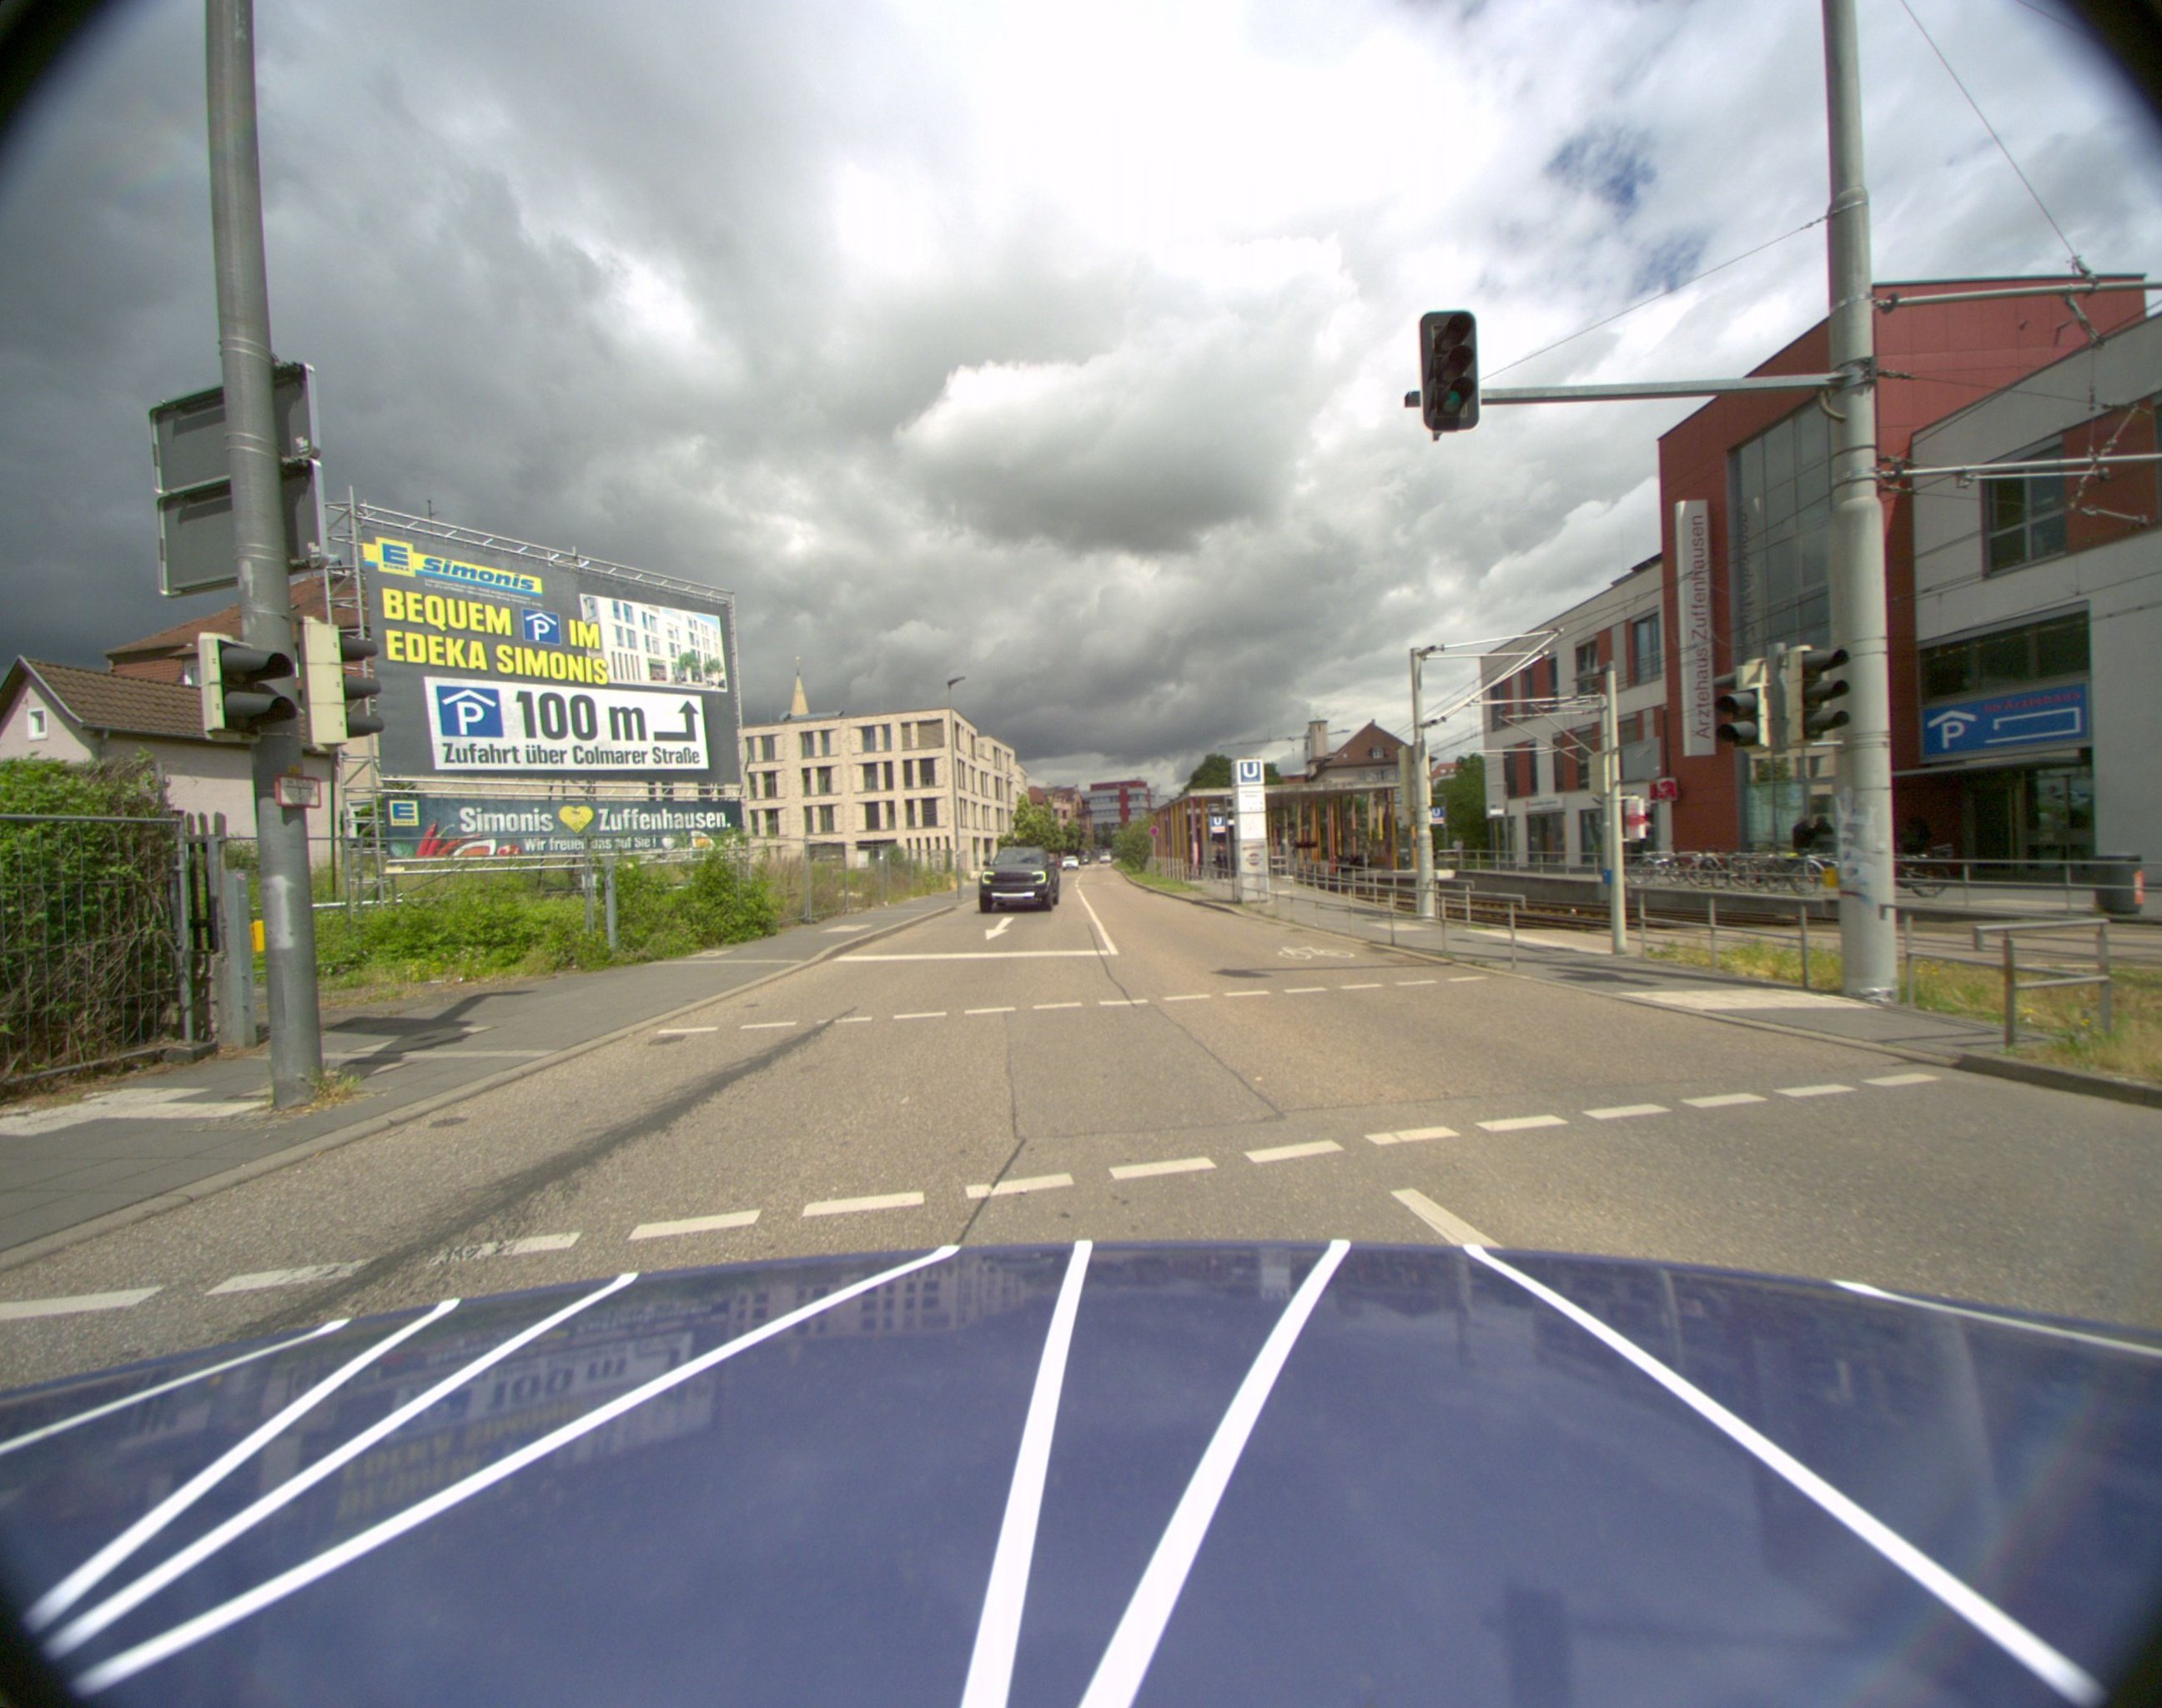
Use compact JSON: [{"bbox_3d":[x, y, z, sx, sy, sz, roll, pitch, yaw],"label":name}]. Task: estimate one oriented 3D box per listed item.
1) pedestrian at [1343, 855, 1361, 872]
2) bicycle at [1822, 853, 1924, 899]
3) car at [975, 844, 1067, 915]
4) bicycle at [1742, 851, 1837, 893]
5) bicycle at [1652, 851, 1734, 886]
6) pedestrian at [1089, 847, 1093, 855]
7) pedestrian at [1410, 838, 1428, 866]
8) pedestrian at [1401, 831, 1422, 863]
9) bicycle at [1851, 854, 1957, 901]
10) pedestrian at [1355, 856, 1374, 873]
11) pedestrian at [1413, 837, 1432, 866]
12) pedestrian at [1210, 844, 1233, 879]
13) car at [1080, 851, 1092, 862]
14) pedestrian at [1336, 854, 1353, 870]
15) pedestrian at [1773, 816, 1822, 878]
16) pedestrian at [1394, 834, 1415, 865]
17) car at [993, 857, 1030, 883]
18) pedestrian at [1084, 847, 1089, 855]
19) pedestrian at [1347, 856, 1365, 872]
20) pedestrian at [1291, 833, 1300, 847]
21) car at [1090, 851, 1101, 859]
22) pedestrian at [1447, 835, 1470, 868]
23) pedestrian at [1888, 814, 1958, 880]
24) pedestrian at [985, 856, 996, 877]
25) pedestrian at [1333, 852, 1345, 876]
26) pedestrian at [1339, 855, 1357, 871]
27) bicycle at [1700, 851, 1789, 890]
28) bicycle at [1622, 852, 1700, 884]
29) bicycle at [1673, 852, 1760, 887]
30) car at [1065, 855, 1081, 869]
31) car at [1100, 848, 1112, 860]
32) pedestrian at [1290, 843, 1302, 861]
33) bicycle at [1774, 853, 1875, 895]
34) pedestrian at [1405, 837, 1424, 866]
[{"bbox_3d":[19.086,0.674,53.603,0.943,1.128,0.886,-2,0,2],"label":"pedestrian"},{"bbox_3d":[17.712,0.493,17.005,1.739,0.952,0.428,-2,1,3],"label":"bicycle"},{"bbox_3d":[-1.670,0.655,23.049,2.003,1.876,5.151,-1,1,4],"label":"car"},{"bbox_3d":[17.682,0.443,18.976,1.862,0.957,0.454,-2,1,3],"label":"bicycle"},{"bbox_3d":[17.591,0.412,21.857,1.861,0.927,0.455,-2,1,9],"label":"bicycle"},{"bbox_3d":[1.847,-0.477,144.729,0.673,1.503,0.783,-2,0,3],"label":"pedestrian"},{"bbox_3d":[23.836,-0.122,53.590,0.863,1.957,1.106,-1,2,6],"label":"pedestrian"},{"bbox_3d":[21.021,-0.446,48.377,0.864,1.957,1.105,-1,2,-1],"label":"pedestrian"},{"bbox_3d":[17.723,0.507,16.372,1.739,0.947,0.428,-2,1,3],"label":"bicycle"},{"bbox_3d":[19.266,0.706,51.689,0.943,1.128,0.886,-2,0,2],"label":"pedestrian"},{"bbox_3d":[23.139,-0.161,51.515,0.863,1.957,1.106,-1,2,6],"label":"pedestrian"},{"bbox_3d":[7.702,0.402,41.650,1.105,1.903,0.864,-1,2,2],"label":"pedestrian"},{"bbox_3d":[0.719,0.381,110.477,1.678,1.425,3.794,-2,1,0],"label":"car"},{"bbox_3d":[19.306,0.606,55.653,0.943,1.128,0.886,-2,0,2],"label":"pedestrian"},{"bbox_3d":[22.010,-0.235,23.345,0.881,1.835,0.862,-4,3,-27],"label":"pedestrian"},{"bbox_3d":[20.512,-0.291,48.199,0.864,1.957,1.105,-1,2,-1],"label":"pedestrian"},{"bbox_3d":[-4.157,0.965,46.119,1.677,1.415,3.794,-1,1,3],"label":"car"},{"bbox_3d":[1.043,-0.554,137.834,0.673,1.503,0.783,-1,0,16],"label":"pedestrian"},{"bbox_3d":[19.071,0.692,52.645,0.943,1.128,0.886,-2,0,2],"label":"pedestrian"},{"bbox_3d":[30.851,-1.960,109.286,1.125,2.002,1.661,-1,0,13],"label":"pedestrian"},{"bbox_3d":[2.500,0.109,129.891,1.677,1.299,3.794,-1,1,3],"label":"car"},{"bbox_3d":[22.191,-0.154,44.697,0.864,1.957,1.106,-1,2,3],"label":"pedestrian"},{"bbox_3d":[22.342,-0.187,20.176,0.934,1.688,0.789,-1,2,9],"label":"pedestrian"},{"bbox_3d":[-6.657,0.939,56.125,0.673,1.503,0.782,-2,0,1],"label":"pedestrian"},{"bbox_3d":[21.773,0.855,64.105,0.623,2.002,0.763,-1,0,-6],"label":"pedestrian"},{"bbox_3d":[19.183,0.655,54.593,0.943,1.128,0.886,-2,0,2],"label":"pedestrian"},{"bbox_3d":[17.548,0.434,20.127,1.861,0.934,0.454,-2,1,5],"label":"bicycle"},{"bbox_3d":[17.532,0.426,22.985,1.861,0.876,0.455,-2,1,9],"label":"bicycle"},{"bbox_3d":[17.566,0.427,21.028,1.861,0.917,0.455,-2,1,8],"label":"bicycle"},{"bbox_3d":[-0.879,0.901,85.226,1.719,1.541,3.793,-1,0,1],"label":"car"},{"bbox_3d":[3.671,-0.035,111.511,1.588,1.528,3.946,-5,1,1],"label":"car"},{"bbox_3d":[24.108,-0.182,85.259,1.127,2.002,1.179,-1,0,6],"label":"pedestrian"},{"bbox_3d":[17.645,0.474,18.044,1.862,0.930,0.454,-2,1,3],"label":"bicycle"},{"bbox_3d":[22.583,-0.166,51.514,0.863,1.957,1.106,-1,2,6],"label":"pedestrian"}]
